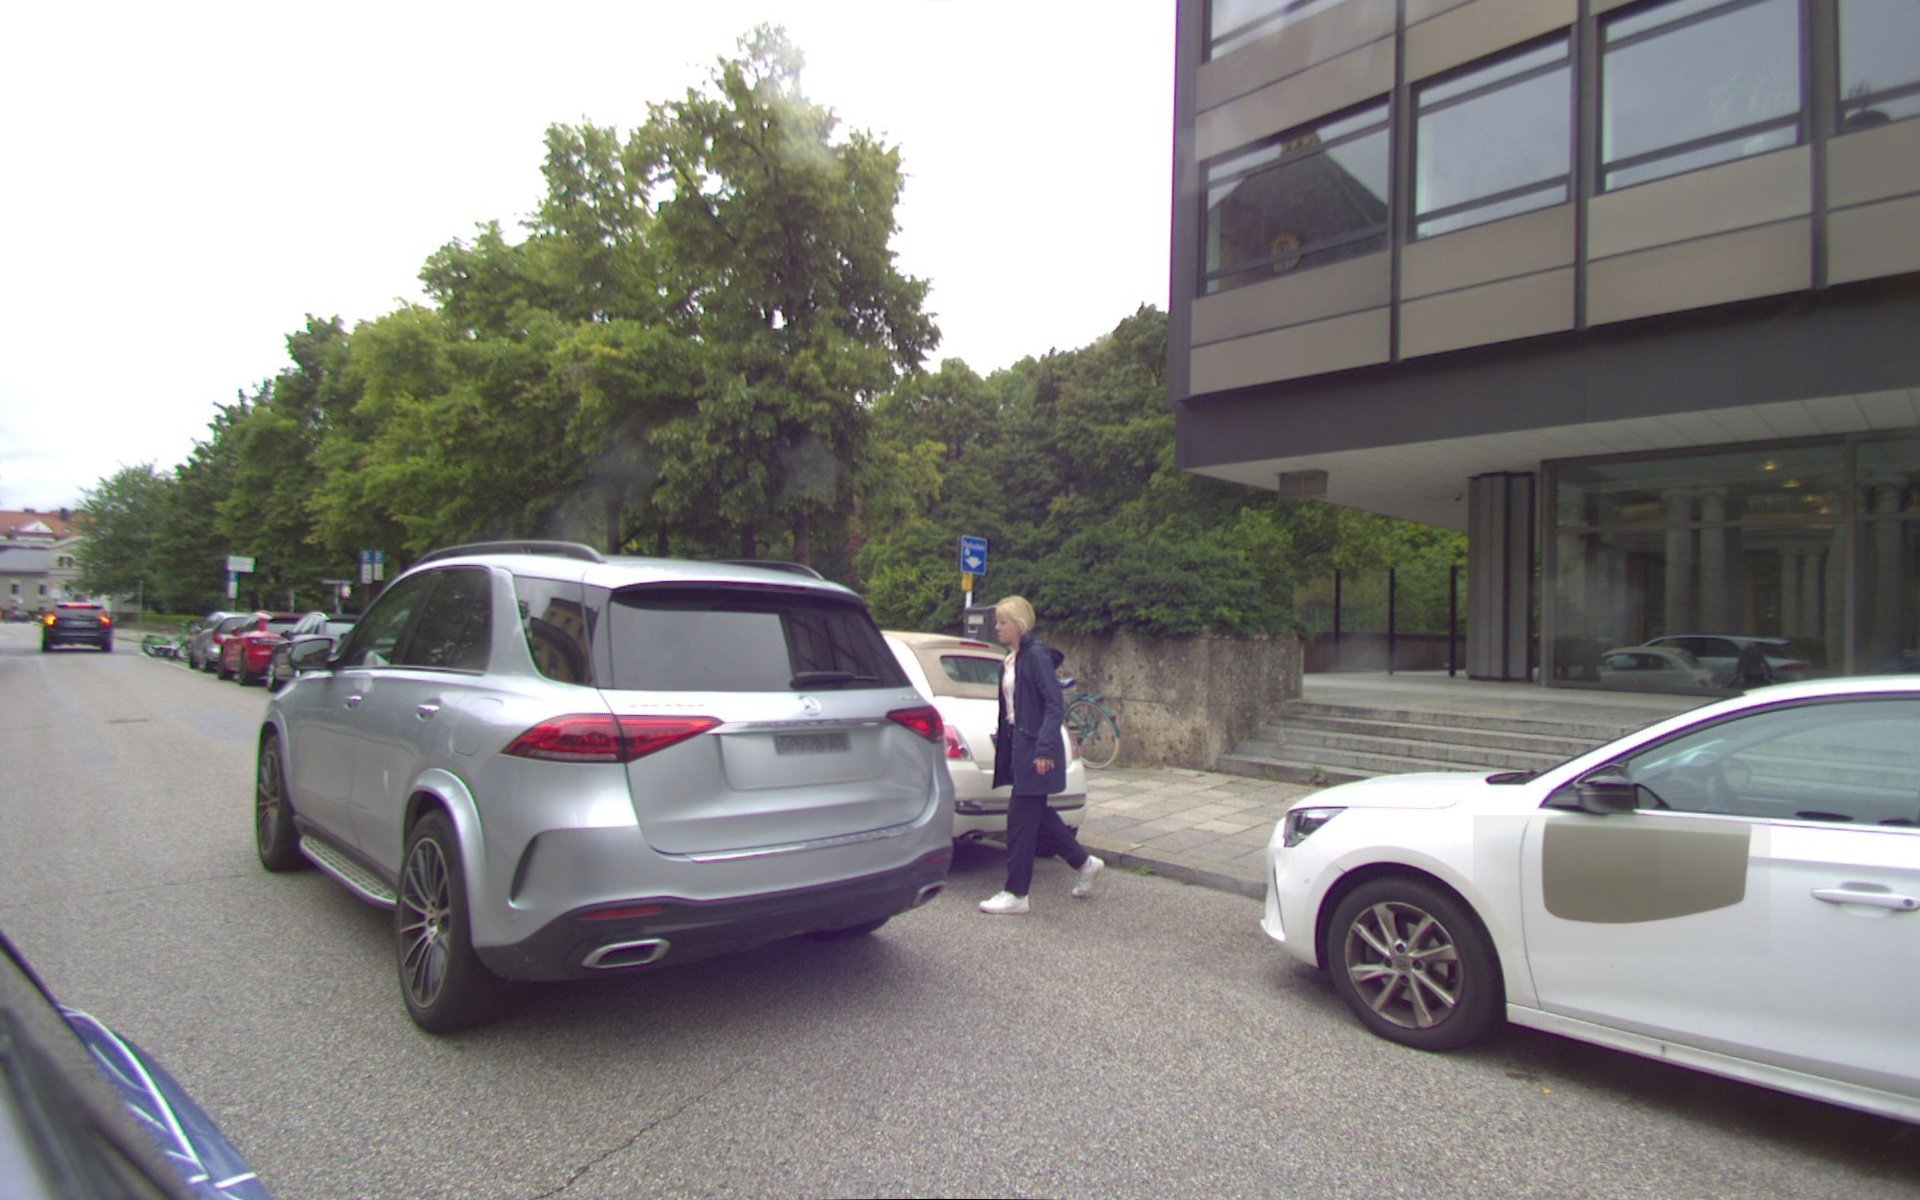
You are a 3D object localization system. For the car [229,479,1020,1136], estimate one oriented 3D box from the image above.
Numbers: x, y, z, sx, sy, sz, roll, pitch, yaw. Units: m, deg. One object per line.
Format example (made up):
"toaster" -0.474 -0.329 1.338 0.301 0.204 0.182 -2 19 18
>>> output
"car" -2.079 0.609 5.062 2.000 1.702 4.683 4 -3 -42

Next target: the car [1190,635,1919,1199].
"car" 3.061 0.925 3.311 1.661 1.451 4.284 6 -5 -42

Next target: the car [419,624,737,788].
"car" -4.309 1.044 11.036 1.737 1.411 4.222 7 -5 -42

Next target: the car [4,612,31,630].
"car" -108.902 2.392 116.939 2.190 1.864 4.735 -1 1 -44

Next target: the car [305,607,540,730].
"car" -8.312 0.962 15.435 1.970 1.595 4.526 4 -3 -44

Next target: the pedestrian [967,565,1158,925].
"pedestrian" 0.524 0.743 5.444 0.880 1.765 0.690 2 -4 -1

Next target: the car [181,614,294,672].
"car" -19.938 1.169 27.868 1.969 1.472 4.369 4 -3 -42

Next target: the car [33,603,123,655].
"car" -32.064 1.038 36.730 4.913 1.694 1.938 -1 -4 44

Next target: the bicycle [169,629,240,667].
"bicycle" -23.607 1.489 31.640 0.598 1.116 1.678 0 -2 38

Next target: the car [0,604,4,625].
"car" -120.198 1.820 123.334 4.917 2.554 2.573 -1 1 0

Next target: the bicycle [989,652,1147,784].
"bicycle" 1.067 1.144 10.235 0.635 1.173 1.528 0 -1 -45

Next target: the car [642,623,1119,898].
"car" -0.751 0.957 7.380 1.525 1.482 3.556 5 -4 -43

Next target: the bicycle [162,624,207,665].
"bicycle" -24.907 1.415 32.511 0.566 1.292 1.422 0 -1 -11

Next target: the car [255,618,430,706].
"car" -11.968 1.124 19.459 1.969 1.472 4.652 4 -3 -42

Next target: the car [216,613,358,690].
"car" -15.223 1.123 22.794 1.969 1.555 4.369 4 -3 -42
